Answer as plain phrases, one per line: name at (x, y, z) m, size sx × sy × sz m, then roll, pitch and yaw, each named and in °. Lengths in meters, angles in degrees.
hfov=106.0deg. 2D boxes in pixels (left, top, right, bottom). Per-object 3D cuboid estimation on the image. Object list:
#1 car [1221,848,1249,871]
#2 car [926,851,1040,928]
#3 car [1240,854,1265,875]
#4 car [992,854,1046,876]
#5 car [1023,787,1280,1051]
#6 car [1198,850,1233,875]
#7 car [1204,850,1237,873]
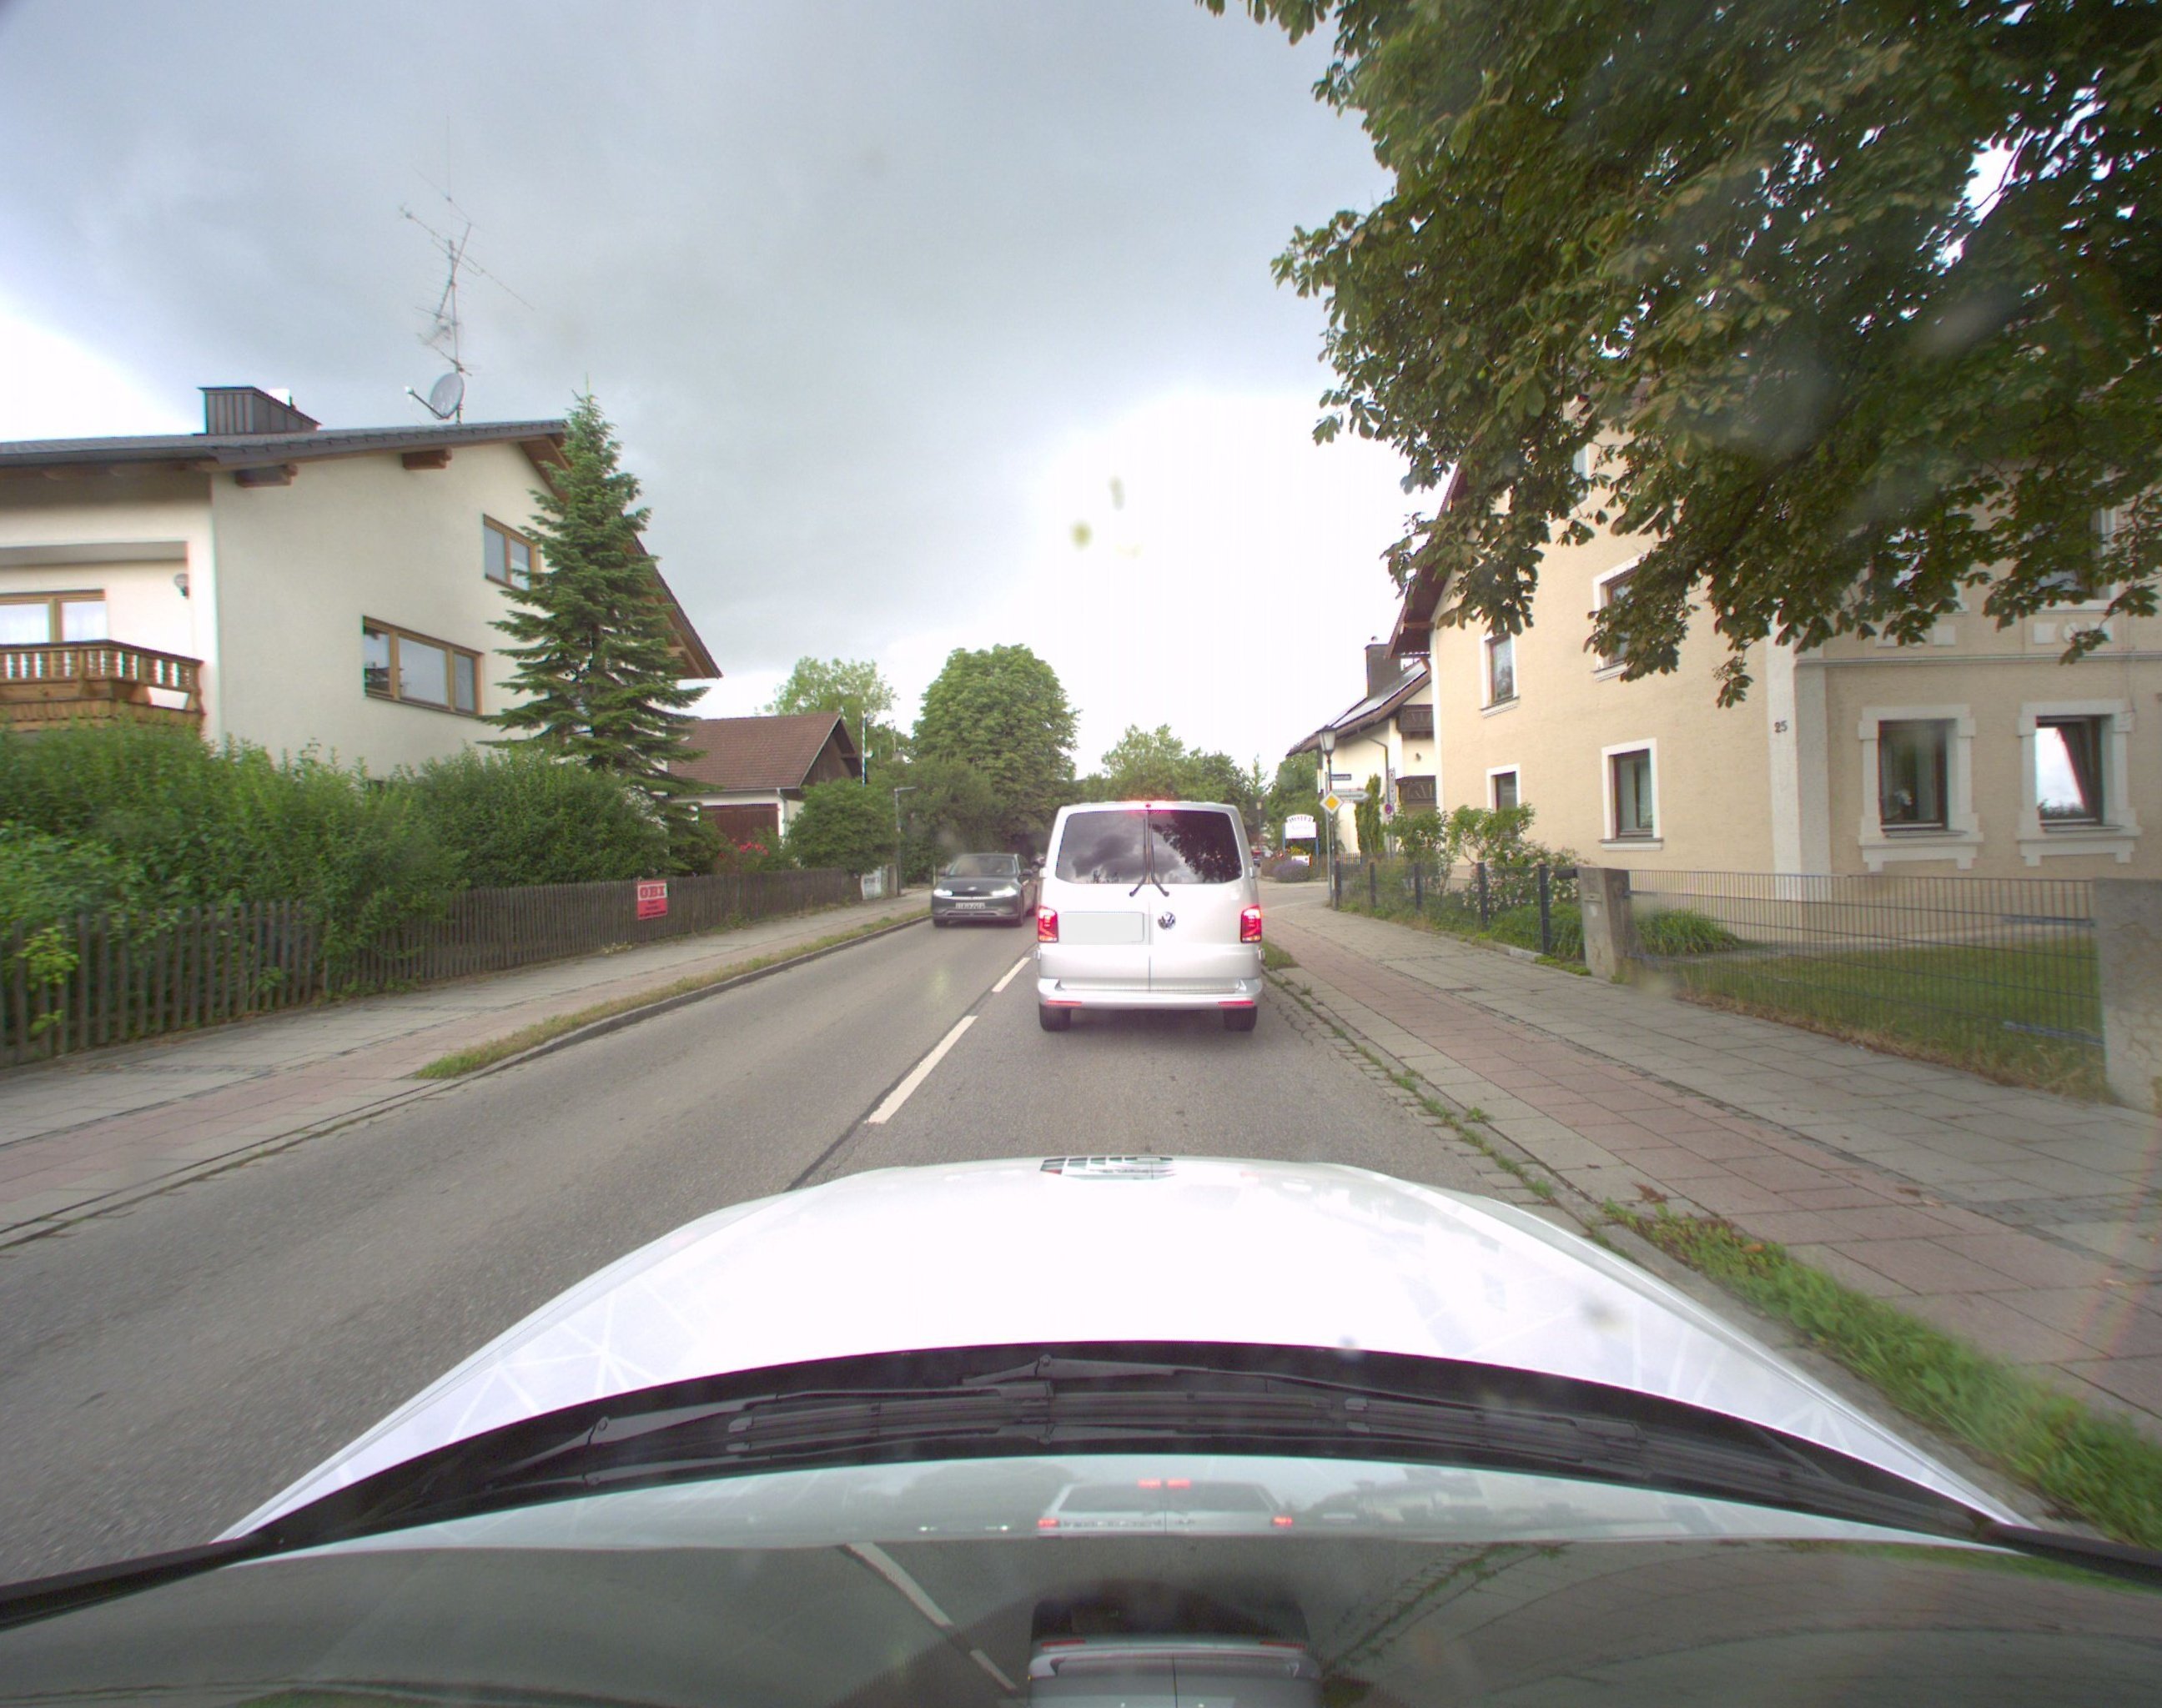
car at (12.502, 0.436, 65.913) m, size 1.867 × 1.748 × 4.097 m, roll -2°, pitch 0°, yaw 15°
car at (-2.100, 0.723, 18.712) m, size 1.923 × 1.575 × 4.314 m, roll 0°, pitch 0°, yaw 2°
car at (15.697, 0.949, 74.343) m, size 1.867 × 1.825 × 3.937 m, roll -2°, pitch 0°, yaw 16°
car at (-4.659, 0.807, 61.282) m, size 3.982 × 1.486 × 1.996 m, roll -1°, pitch 0°, yaw -6°
car at (0.633, 0.491, 8.082) m, size 1.873 × 1.940 × 3.924 m, roll -2°, pitch 0°, yaw 3°
car at (8.817, 0.536, 53.115) m, size 1.867 × 1.535 × 3.936 m, roll -2°, pitch 0°, yaw 14°
car at (10.169, 0.532, 59.049) m, size 1.867 × 1.535 × 3.937 m, roll -2°, pitch 0°, yaw 16°
